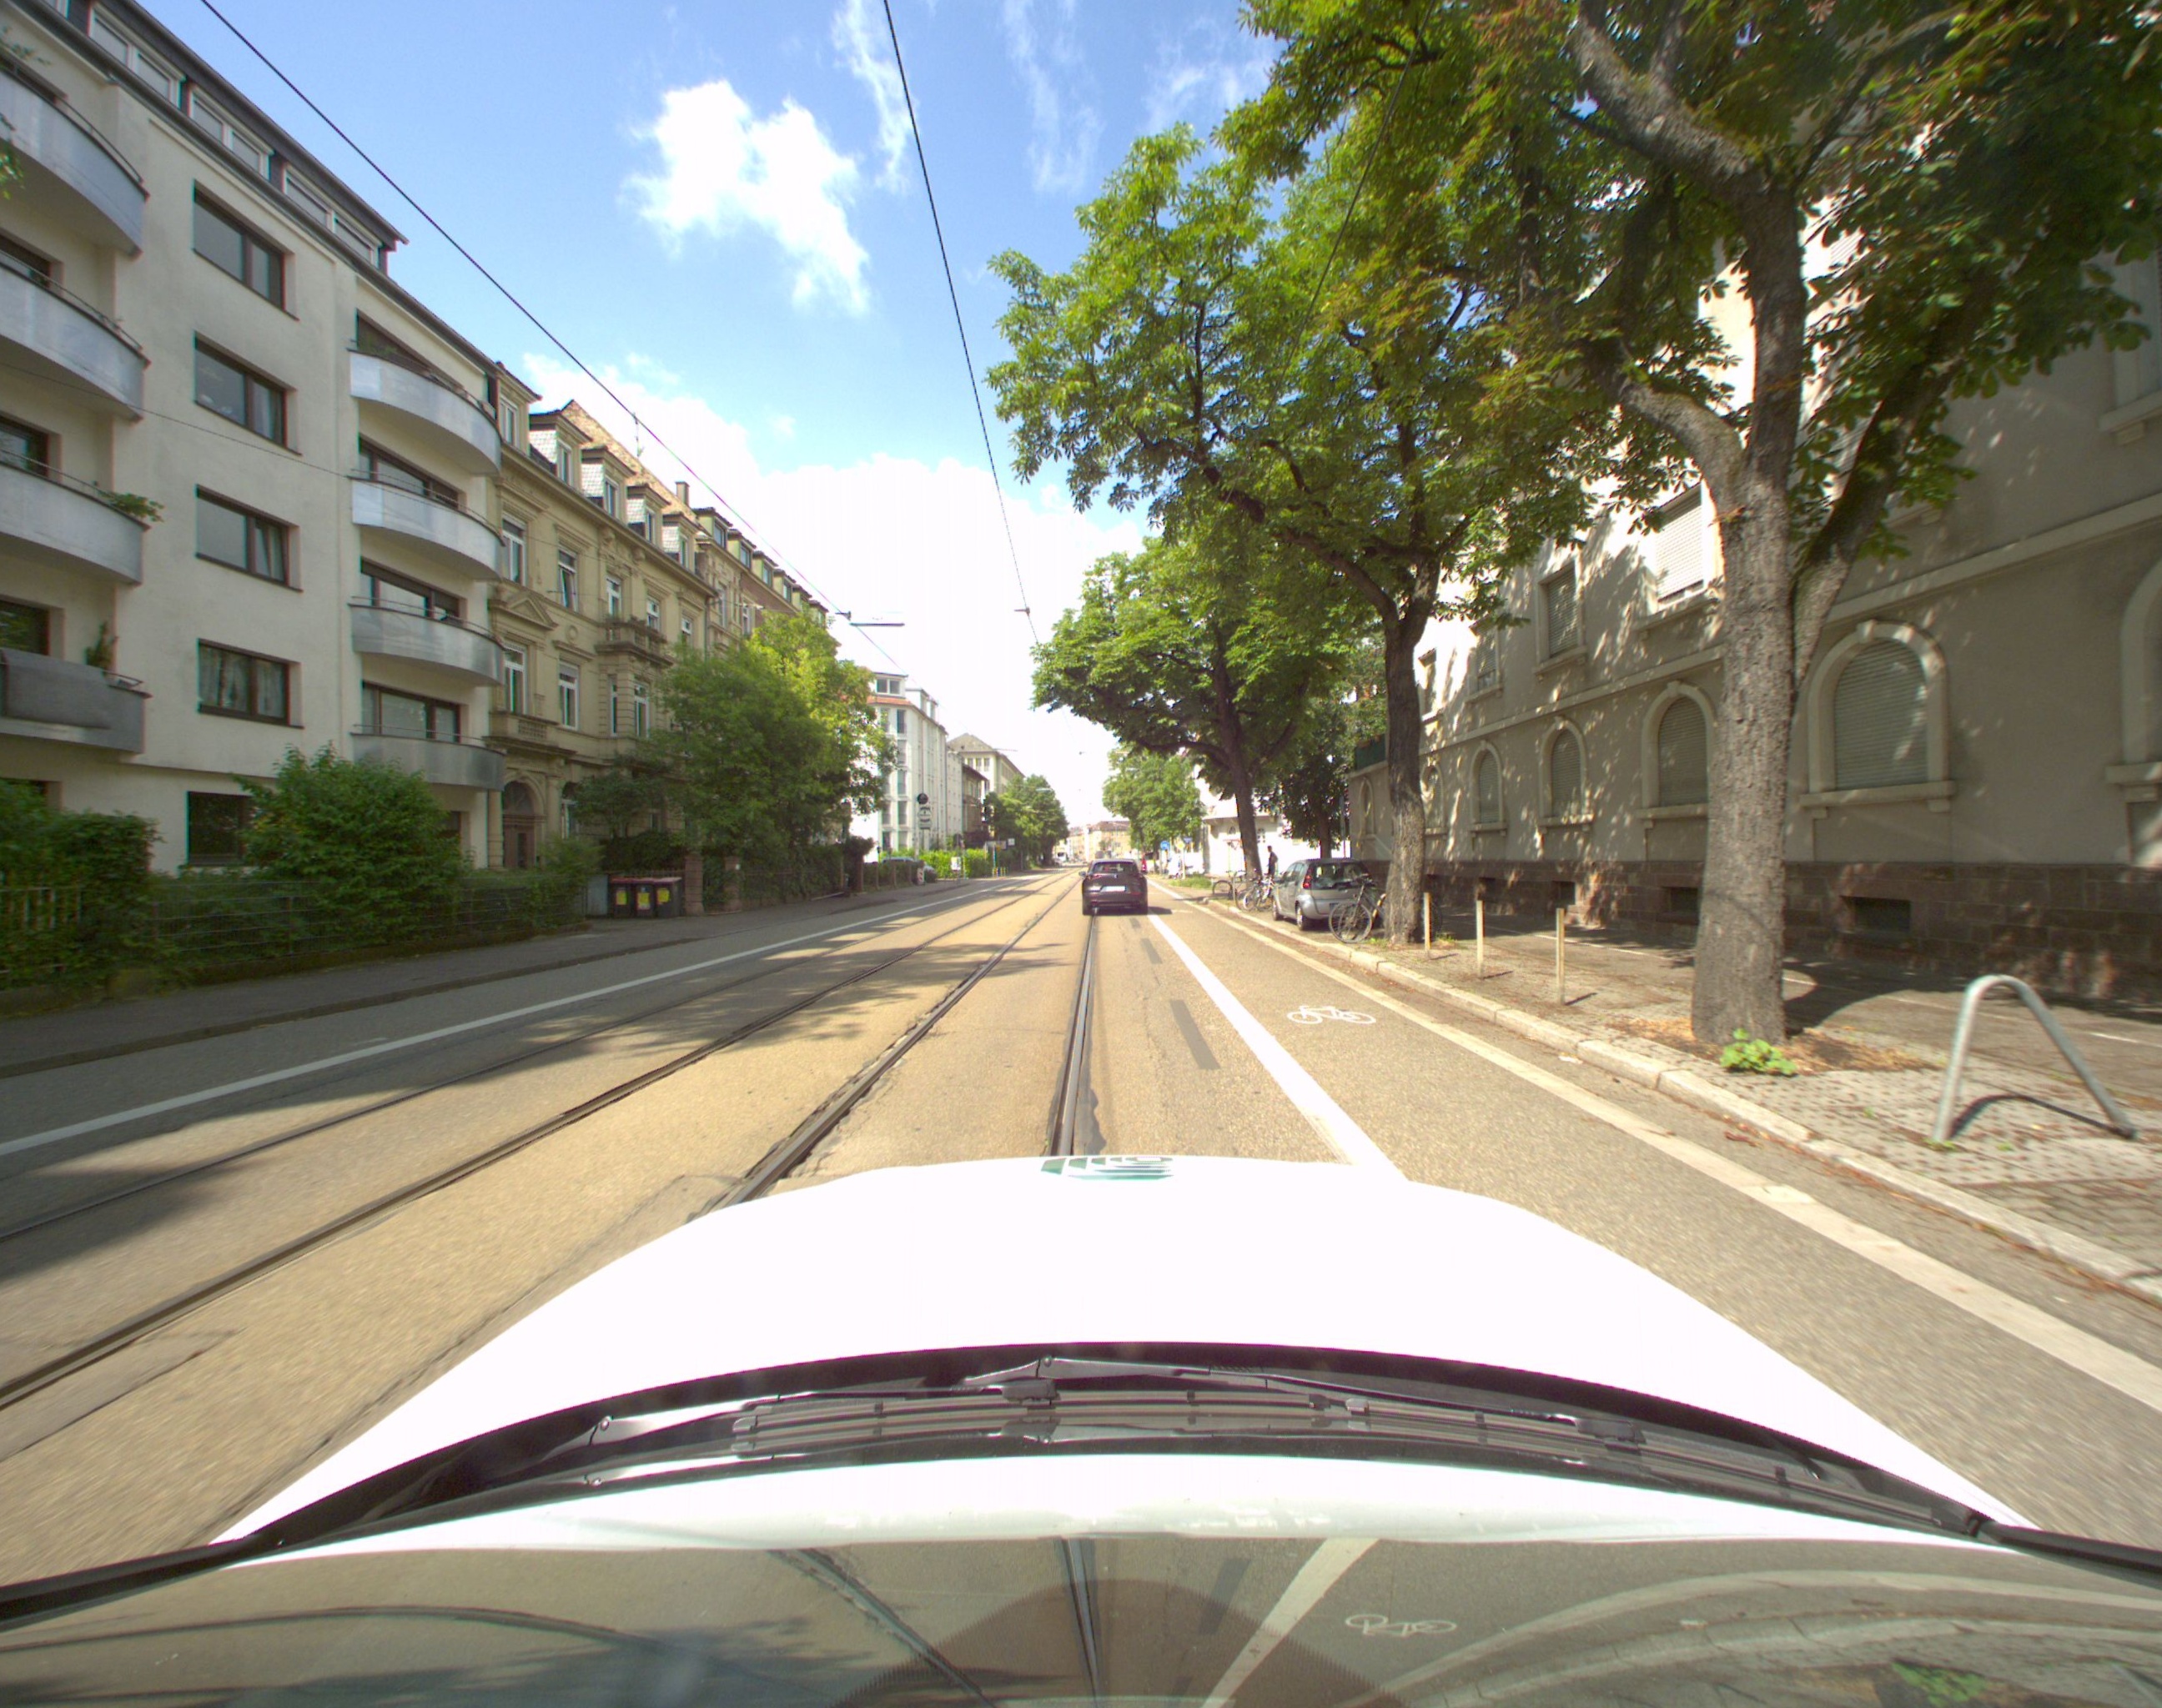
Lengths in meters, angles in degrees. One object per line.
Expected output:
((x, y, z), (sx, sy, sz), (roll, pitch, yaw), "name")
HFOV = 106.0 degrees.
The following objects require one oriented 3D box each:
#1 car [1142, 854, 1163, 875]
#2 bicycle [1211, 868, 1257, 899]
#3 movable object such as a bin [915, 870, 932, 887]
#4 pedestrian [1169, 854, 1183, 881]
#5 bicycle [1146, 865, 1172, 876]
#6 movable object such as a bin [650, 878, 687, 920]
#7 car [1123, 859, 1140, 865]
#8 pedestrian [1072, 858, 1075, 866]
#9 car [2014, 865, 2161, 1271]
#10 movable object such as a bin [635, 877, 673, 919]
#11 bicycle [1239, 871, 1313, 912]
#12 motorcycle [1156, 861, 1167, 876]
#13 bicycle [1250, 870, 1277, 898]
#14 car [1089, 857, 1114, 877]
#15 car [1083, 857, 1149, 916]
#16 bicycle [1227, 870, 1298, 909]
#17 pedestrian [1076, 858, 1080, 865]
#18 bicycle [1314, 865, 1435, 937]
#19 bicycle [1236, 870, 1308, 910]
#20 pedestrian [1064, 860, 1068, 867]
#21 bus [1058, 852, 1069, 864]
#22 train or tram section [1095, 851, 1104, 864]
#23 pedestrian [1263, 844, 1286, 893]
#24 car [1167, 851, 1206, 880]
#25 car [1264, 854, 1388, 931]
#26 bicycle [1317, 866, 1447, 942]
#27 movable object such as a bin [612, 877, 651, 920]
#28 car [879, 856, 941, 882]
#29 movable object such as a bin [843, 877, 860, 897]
((6.706, 0.977, 76.560), (1.714, 1.968, 4.209), (-1, 0, 2), "car")
((5.176, 0.993, 27.530), (1.485, 0.983, 0.259), (-2, -1, 3), "bicycle")
((-9.368, 1.462, 48.427), (0.742, 0.988, 1.114), (1, -1, 1), "movable object such as a bin")
((6.614, 0.937, 56.626), (0.812, 1.836, 0.962), (-1, 0, 0), "pedestrian")
((7.000, 1.472, 72.855), (2.267, 0.861, 0.671), (-1, -1, 0), "bicycle")
((-11.038, 1.190, 21.804), (0.535, 1.094, 0.791), (-1, -1, 6), "movable object such as a bin")
((12.463, 1.986, 201.493), (3.815, 1.618, 1.628), (1, -1, -17), "car")
((-2.024, 2.036, 214.721), (0.882, 2.014, 0.617), (-1, -1, -3), "pedestrian")
((4.770, 0.711, 1.119), (1.841, 1.409, 4.391), (-3, -1, -2), "car")
((-11.570, 1.177, 22.064), (0.546, 1.108, 0.791), (-1, -1, 6), "movable object such as a bin")
((5.281, 1.021, 22.139), (1.896, 1.072, 0.402), (-1, -1, 1), "bicycle")
((6.811, 1.221, 69.000), (0.791, 1.271, 2.423), (-1, 0, 1), "motorcycle")
((6.113, 0.977, 27.346), (0.258, 0.900, 1.768), (-1, -1, -7), "bicycle")
((1.640, 0.999, 65.832), (1.986, 1.529, 4.001), (1, 0, 1), "car")
((0.951, 0.863, 23.128), (1.714, 1.526, 3.590), (-1, 0, 1), "car")
((5.124, 0.993, 22.984), (1.896, 1.072, 0.402), (-1, -1, 1), "bicycle")
((-0.766, 1.960, 214.730), (0.882, 2.014, 0.617), (-1, -1, -3), "pedestrian")
((5.019, 0.803, 14.018), (1.881, 1.176, 0.515), (-2, -1, 12), "bicycle")
((5.283, 1.001, 22.563), (1.896, 1.072, 0.402), (-1, -1, 1), "bicycle")
((-3.473, 2.236, 190.210), (0.749, 1.510, 0.823), (-1, -1, -3), "pedestrian")
((-5.108, 1.101, 236.172), (2.683, 3.421, 10.999), (1, 0, -4), "bus")
((5.557, 1.133, 241.733), (2.562, 3.772, 13.031), (-1, 0, 2), "train or tram section")
((7.331, 0.553, 30.832), (0.608, 1.836, 0.878), (-1, -2, -1), "pedestrian")
((7.666, 0.819, 59.600), (1.784, 1.938, 4.982), (-1, 0, -5), "car")
((5.306, 0.782, 18.112), (1.660, 1.430, 3.767), (-3, -1, 2), "car")
((4.938, 0.828, 13.470), (1.923, 1.176, 0.515), (-2, -1, 12), "bicycle")
((-12.144, 1.202, 22.032), (0.546, 1.108, 0.791), (-1, -1, 6), "movable object such as a bin")
((-13.911, 1.243, 66.257), (4.621, 2.014, 2.058), (-1, -1, 23), "car")
((-10.109, 1.460, 35.898), (0.560, 0.876, 0.616), (-1, -1, 1), "movable object such as a bin")
